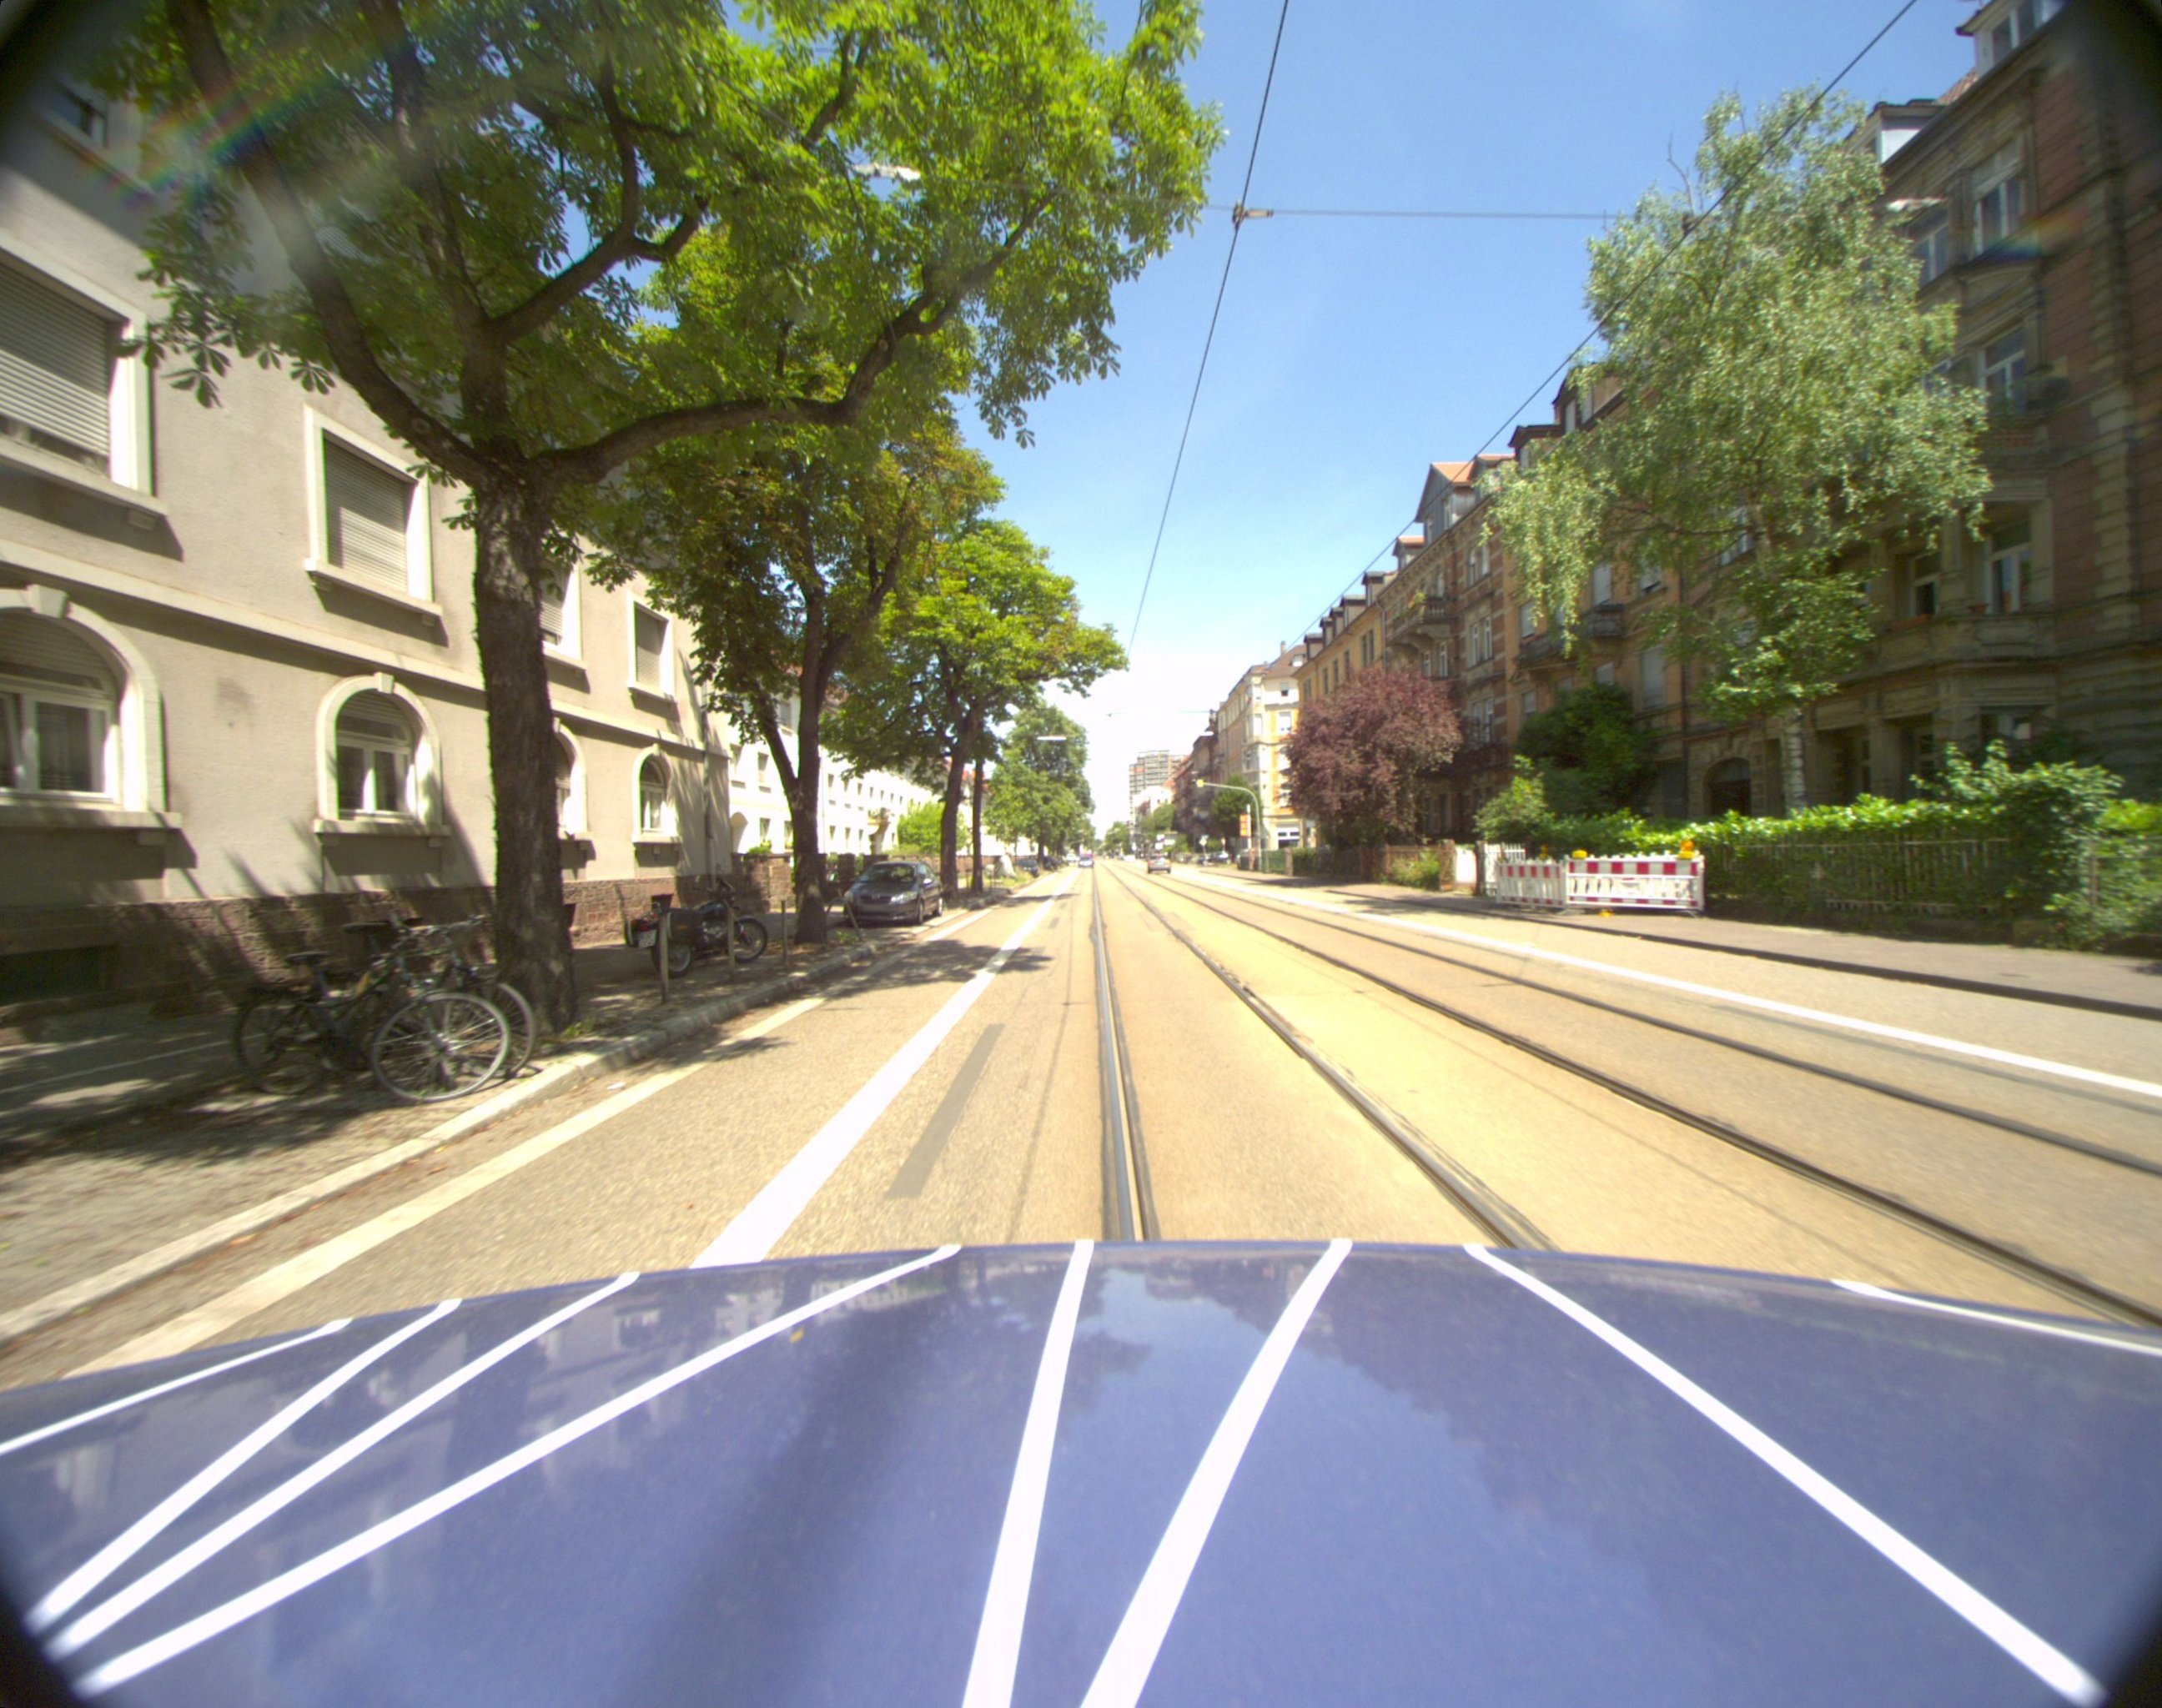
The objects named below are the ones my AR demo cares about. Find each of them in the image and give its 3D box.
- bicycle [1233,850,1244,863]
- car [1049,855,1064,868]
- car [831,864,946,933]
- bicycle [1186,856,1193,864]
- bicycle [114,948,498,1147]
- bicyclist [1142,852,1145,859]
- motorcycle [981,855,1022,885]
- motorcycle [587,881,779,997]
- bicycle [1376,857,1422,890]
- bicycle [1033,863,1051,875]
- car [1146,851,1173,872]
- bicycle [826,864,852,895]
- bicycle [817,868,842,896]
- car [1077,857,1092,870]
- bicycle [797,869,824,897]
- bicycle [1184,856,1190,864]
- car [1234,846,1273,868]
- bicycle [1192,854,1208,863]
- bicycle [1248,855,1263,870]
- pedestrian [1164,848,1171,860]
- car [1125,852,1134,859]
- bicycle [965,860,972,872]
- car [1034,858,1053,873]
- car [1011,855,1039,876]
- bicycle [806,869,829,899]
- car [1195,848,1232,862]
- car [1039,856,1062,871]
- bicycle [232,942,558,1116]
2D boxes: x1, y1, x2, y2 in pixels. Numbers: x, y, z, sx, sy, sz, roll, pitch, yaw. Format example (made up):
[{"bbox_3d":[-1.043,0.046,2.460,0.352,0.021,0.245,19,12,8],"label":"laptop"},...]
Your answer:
[{"bbox_3d":[15.764,0.270,76.185,0.500,1.221,1.853,0,3,29],"label":"bicycle"},{"bbox_3d":[-3.074,0.921,96.390,1.737,1.543,4.453,-1,0,-1],"label":"car"},{"bbox_3d":[-4.609,1.007,18.847,1.778,1.492,4.305,0,0,0],"label":"car"},{"bbox_3d":[12.331,0.691,86.459,0.440,0.978,1.710,-1,0,-1],"label":"bicycle"},{"bbox_3d":[-4.810,1.156,4.758,1.967,1.057,0.599,-1,1,8],"label":"bicycle"},{"bbox_3d":[13.762,0.346,168.312,0.594,1.535,0.952,0,0,1],"label":"bicyclist"},{"bbox_3d":[-4.280,0.845,40.732,2.314,1.531,0.871,-1,0,44],"label":"motorcycle"},{"bbox_3d":[-5.268,1.061,10.318,0.998,1.292,2.380,-1,0,12],"label":"motorcycle"},{"bbox_3d":[12.768,0.785,30.528,1.614,1.180,0.509,-4,1,-12],"label":"bicycle"},{"bbox_3d":[-3.667,1.360,70.924,1.658,1.072,0.606,-1,0,-6],"label":"bicycle"},{"bbox_3d":[5.895,0.547,57.208,1.690,1.446,3.748,-1,0,1],"label":"car"},{"bbox_3d":[-9.527,0.992,29.955,0.460,1.184,1.564,0,0,1],"label":"bicycle"},{"bbox_3d":[-9.904,1.079,29.957,0.460,1.050,1.564,0,0,1],"label":"bicycle"},{"bbox_3d":[0.382,1.084,88.650,1.737,1.543,4.423,-1,0,-1],"label":"car"},{"bbox_3d":[-10.622,1.117,29.919,0.460,1.050,1.564,0,0,1],"label":"bicycle"},{"bbox_3d":[12.378,0.718,88.501,0.440,0.978,1.710,-1,0,-1],"label":"bicycle"},{"bbox_3d":[13.677,0.204,60.394,1.871,1.590,4.100,-2,0,-4],"label":"car"},{"bbox_3d":[13.361,0.488,85.009,1.709,1.031,0.551,-1,0,5],"label":"bicycle"},{"bbox_3d":[11.778,0.560,51.356,0.455,0.997,1.806,-1,0,-3],"label":"bicycle"},{"bbox_3d":[12.361,0.032,108.648,0.853,1.713,1.138,-4,0,1],"label":"pedestrian"},{"bbox_3d":[9.847,0.343,154.166,1.760,1.416,4.000,0,0,1],"label":"car"},{"bbox_3d":[-10.287,1.119,69.364,0.480,1.072,1.923,-1,0,-5],"label":"bicycle"},{"bbox_3d":[-3.707,1.090,75.496,1.699,1.410,4.356,-1,0,-1],"label":"car"},{"bbox_3d":[-4.094,0.835,56.329,1.774,1.418,4.861,-1,0,-1],"label":"car"},{"bbox_3d":[-9.815,1.092,28.356,0.460,1.050,1.563,0,0,-6],"label":"bicycle"},{"bbox_3d":[14.490,0.107,83.016,3.769,1.420,1.713,-1,1,1],"label":"car"},{"bbox_3d":[-3.384,1.083,85.473,1.951,1.641,4.881,-1,0,4],"label":"car"},{"bbox_3d":[-4.684,1.162,5.223,1.893,1.046,0.538,-1,1,8],"label":"bicycle"}]
